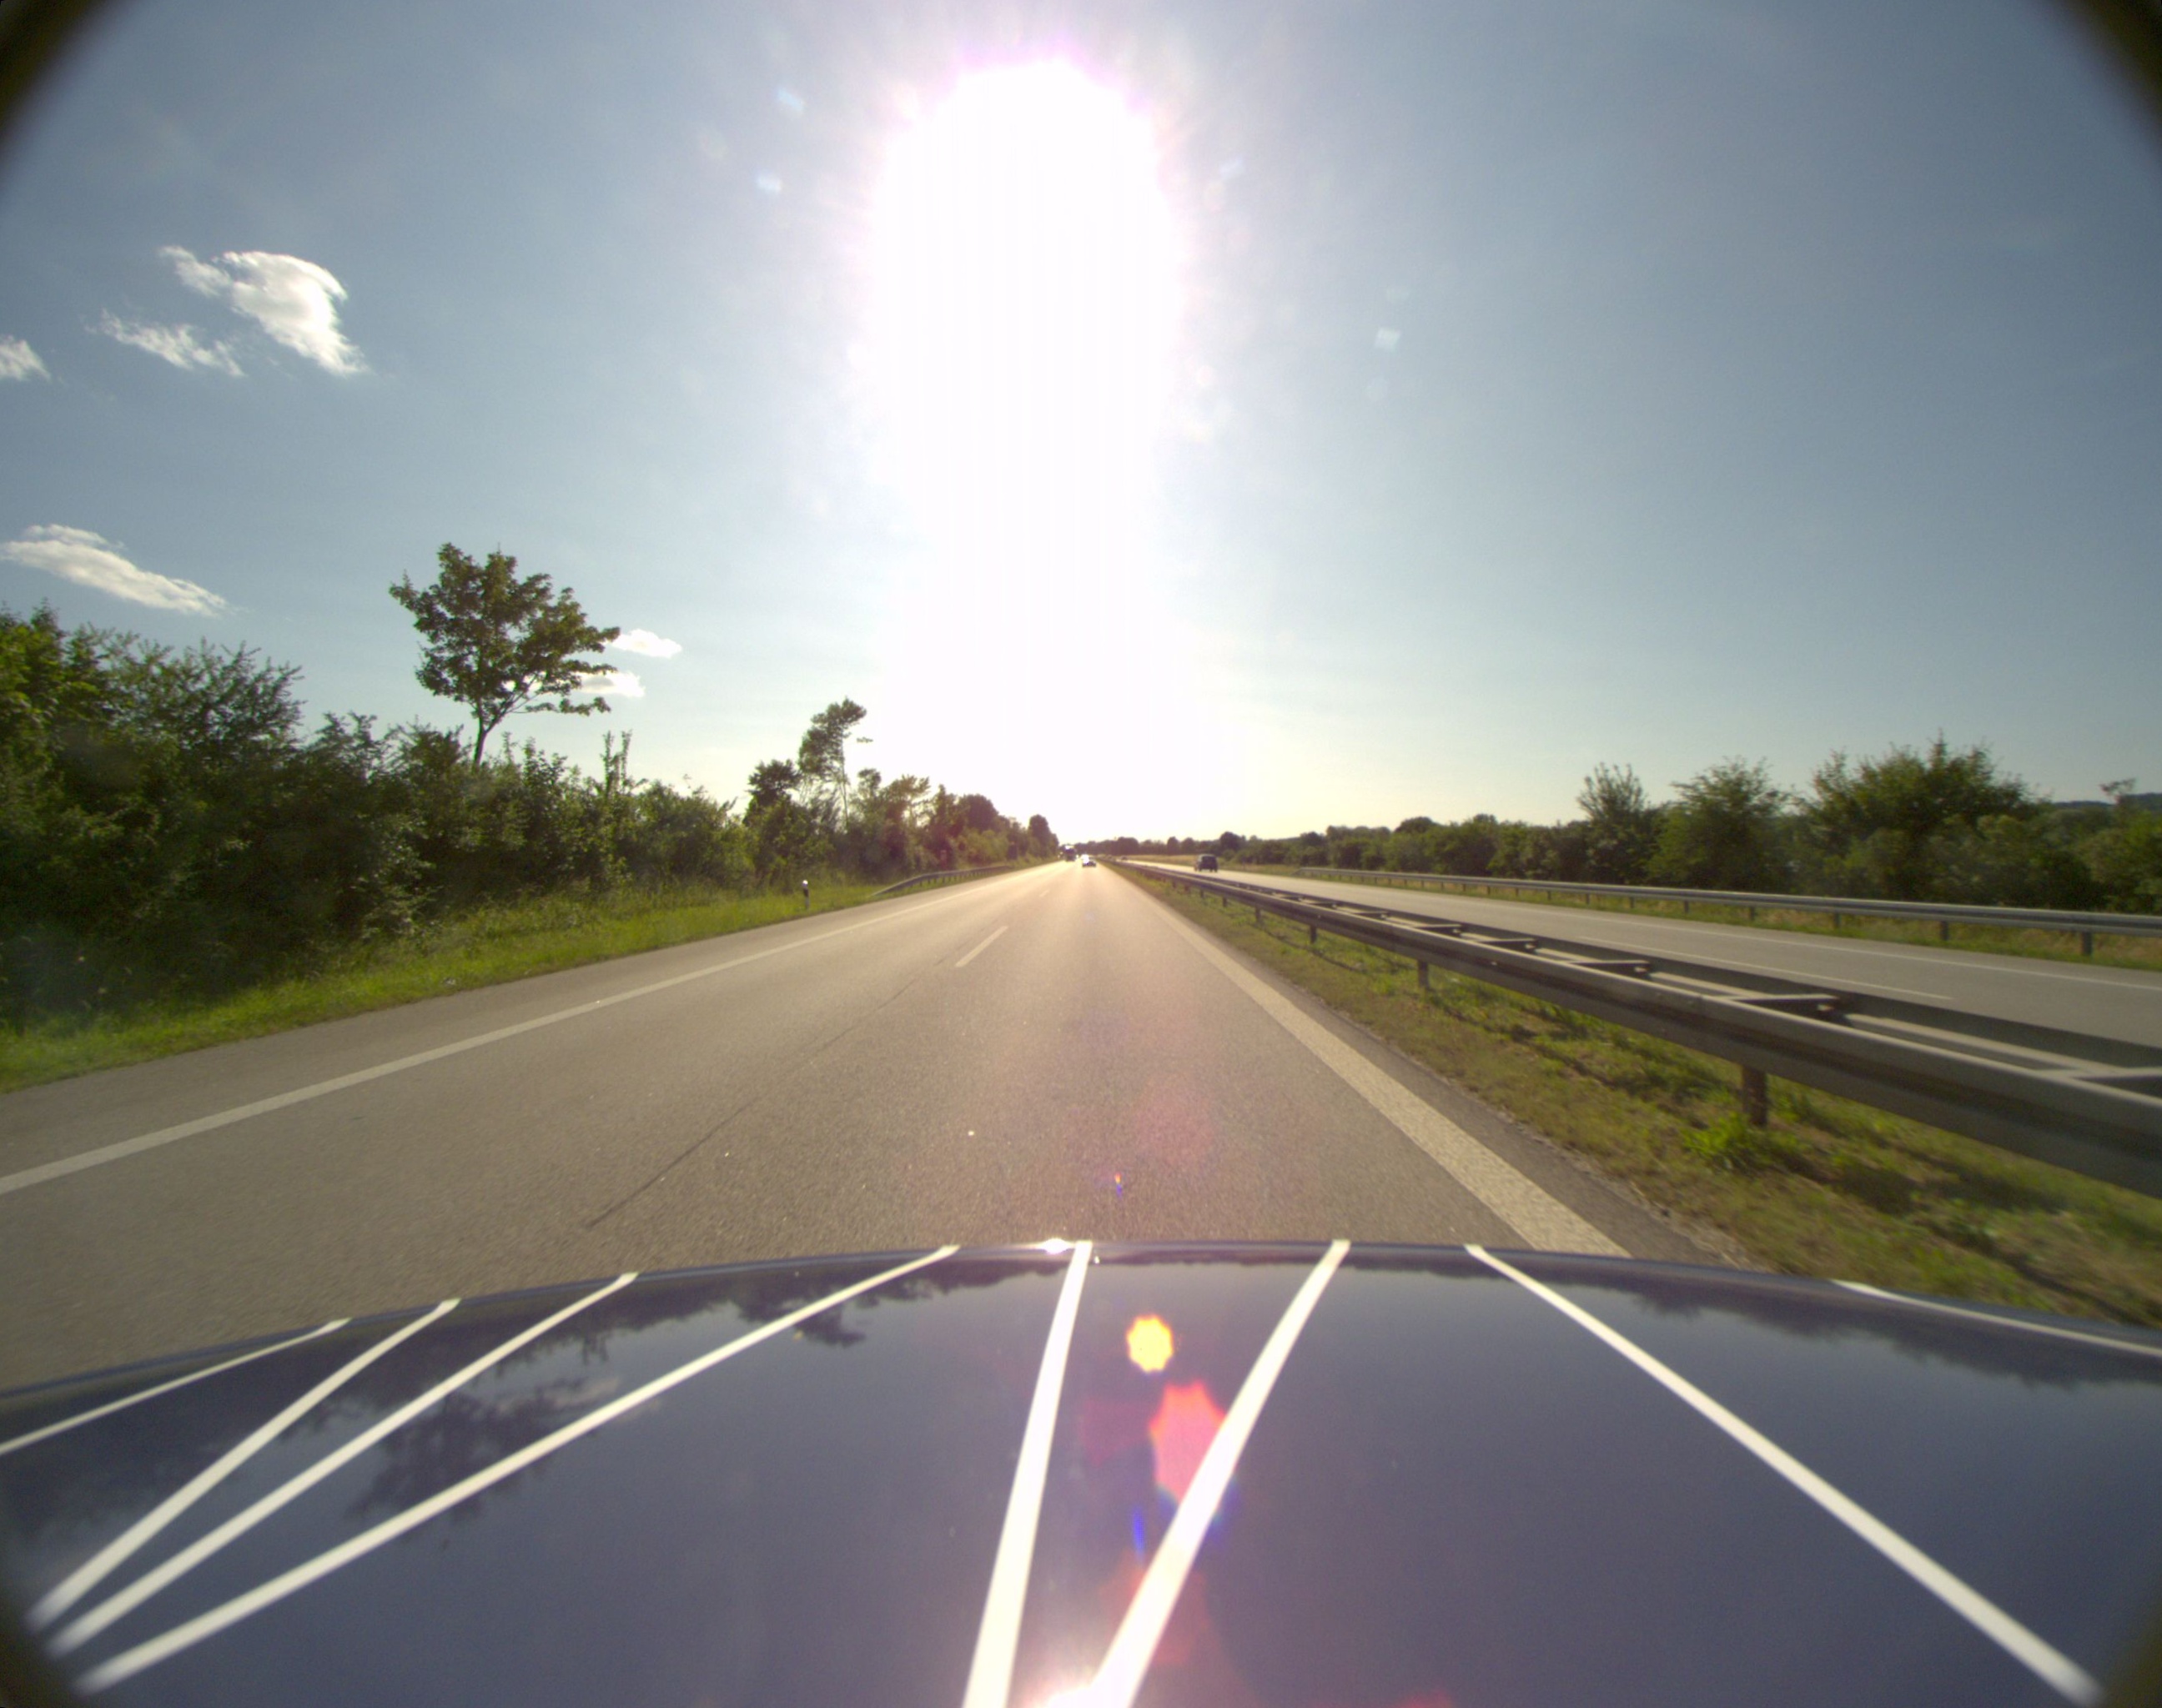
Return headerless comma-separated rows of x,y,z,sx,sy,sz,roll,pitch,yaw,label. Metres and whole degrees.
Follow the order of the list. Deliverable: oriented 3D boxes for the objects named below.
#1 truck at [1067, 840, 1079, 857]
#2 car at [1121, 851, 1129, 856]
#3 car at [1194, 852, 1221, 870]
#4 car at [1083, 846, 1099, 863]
-2.090,-1.448,196.718,2.759,4.242,8.492,-2,1,0,truck
12.538,-0.161,216.987,1.837,1.390,4.922,2,0,0,car
12.079,0.622,72.891,1.834,1.562,4.655,1,1,1,car
1.279,0.058,98.167,1.998,2.002,4.358,-2,1,1,car
